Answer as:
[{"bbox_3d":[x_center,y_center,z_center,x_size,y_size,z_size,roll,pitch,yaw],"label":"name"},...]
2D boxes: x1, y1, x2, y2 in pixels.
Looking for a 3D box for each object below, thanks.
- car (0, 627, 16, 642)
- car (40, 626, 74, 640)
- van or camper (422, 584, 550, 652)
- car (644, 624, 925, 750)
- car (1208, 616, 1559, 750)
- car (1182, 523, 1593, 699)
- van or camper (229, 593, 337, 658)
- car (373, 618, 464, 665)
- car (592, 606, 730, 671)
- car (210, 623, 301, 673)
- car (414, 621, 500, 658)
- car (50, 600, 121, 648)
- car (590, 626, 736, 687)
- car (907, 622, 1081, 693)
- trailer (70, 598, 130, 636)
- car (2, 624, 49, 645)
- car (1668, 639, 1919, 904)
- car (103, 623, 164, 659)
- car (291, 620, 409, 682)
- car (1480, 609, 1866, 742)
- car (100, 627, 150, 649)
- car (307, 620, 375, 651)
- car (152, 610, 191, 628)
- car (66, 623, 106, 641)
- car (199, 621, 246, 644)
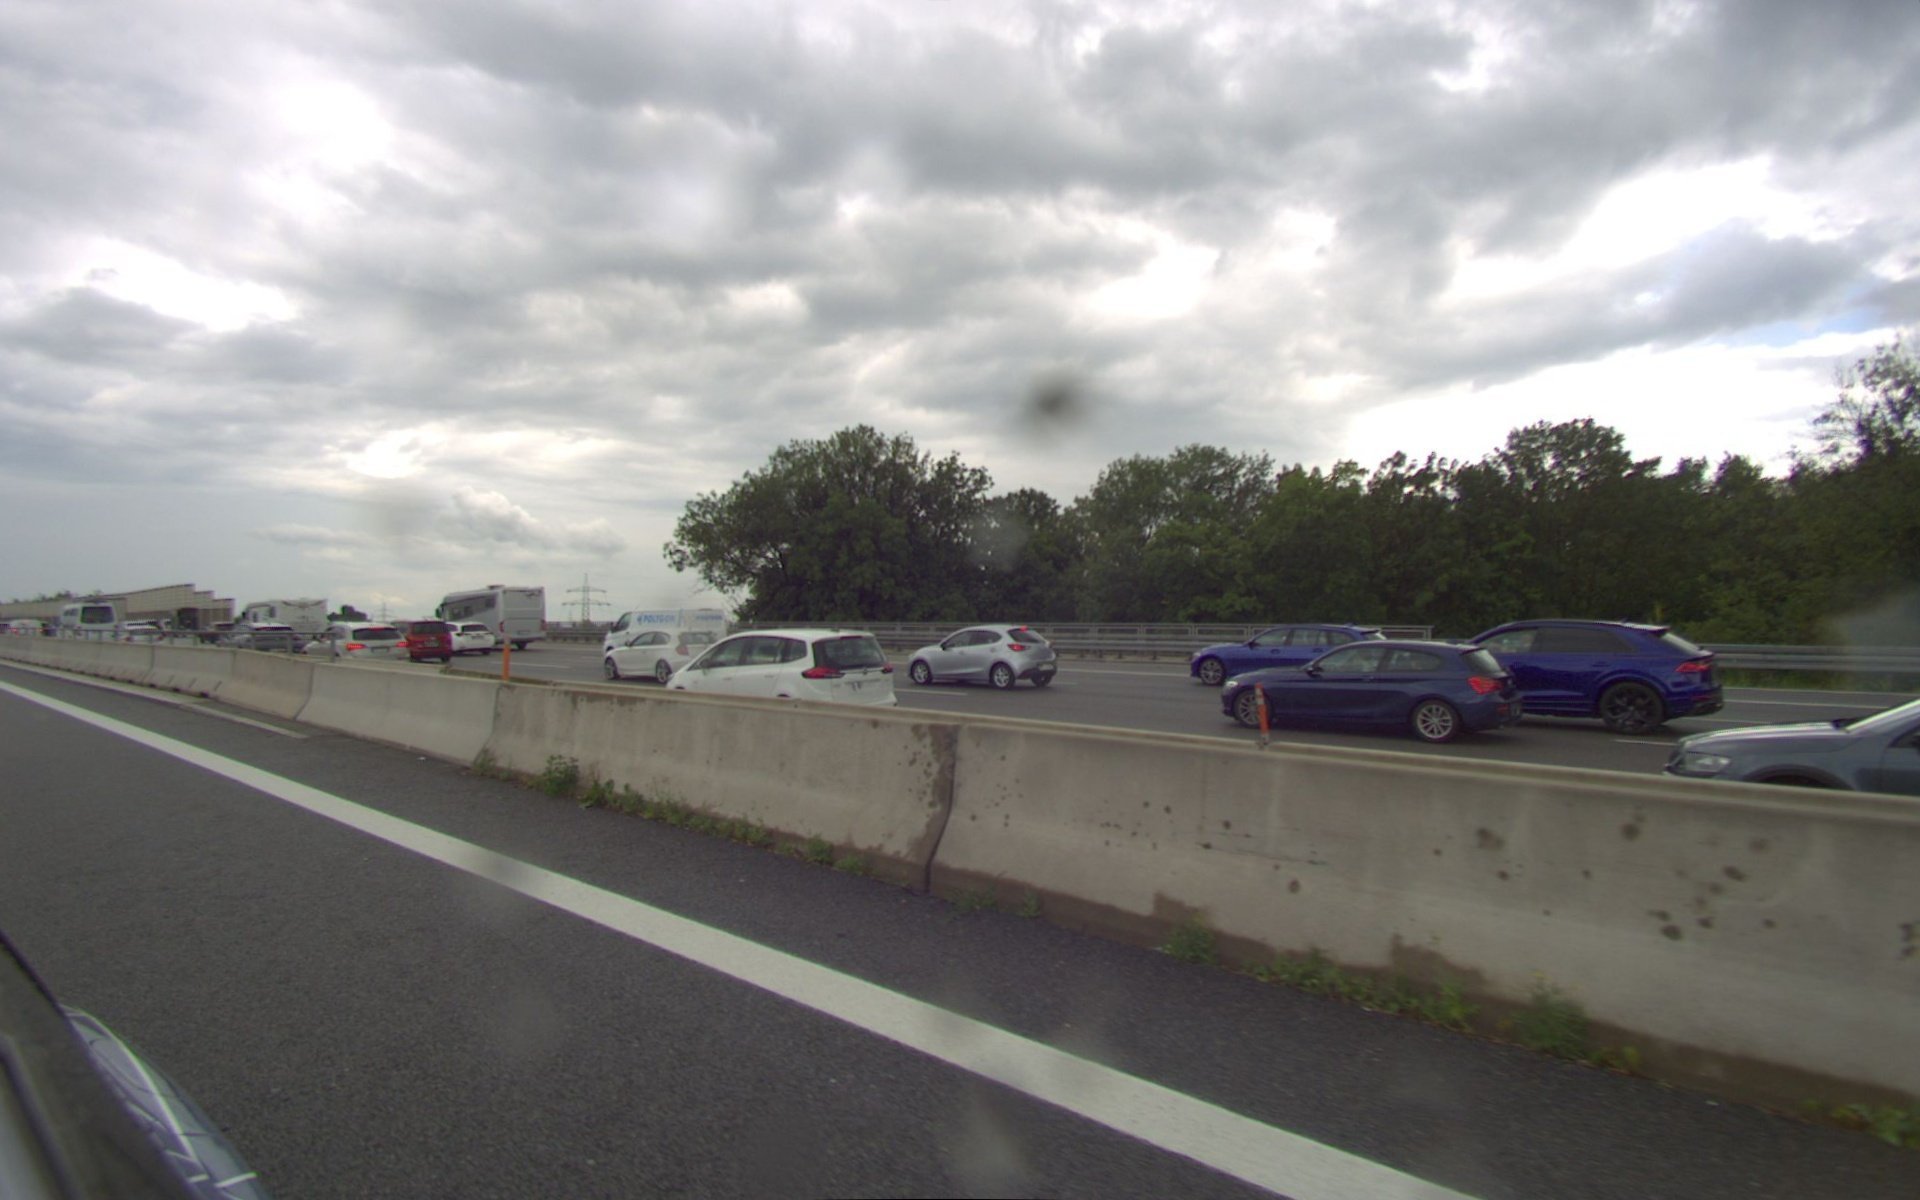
[{"bbox_3d":[-108.272,3.889,114.133,5.466,1.546,2.039,-1,-1,41],"label":"car"},{"bbox_3d":[-98.627,3.596,110.508,5.466,1.546,2.039,-1,-1,41],"label":"car"},{"bbox_3d":[-23.930,0.843,50.810,8.473,3.146,2.598,-1,0,41],"label":"van or camper"},{"bbox_3d":[-2.964,1.254,16.298,4.996,1.658,1.705,-1,0,42],"label":"car"},{"bbox_3d":[6.176,1.102,15.116,4.517,1.658,1.705,-1,0,42],"label":"car"},{"bbox_3d":[9.144,0.224,22.420,7.935,3.264,2.700,-1,0,41],"label":"car"},{"bbox_3d":[-33.752,1.217,50.318,7.355,2.973,2.598,-1,0,41],"label":"van or camper"},{"bbox_3d":[-20.929,1.544,39.047,4.518,1.658,1.704,-1,0,43],"label":"car"},{"bbox_3d":[-9.906,1.210,33.242,5.546,1.950,1.670,-1,0,42],"label":"car"},{"bbox_3d":[-26.247,1.727,37.657,5.061,1.658,1.704,-1,0,43],"label":"car"},{"bbox_3d":[-22.233,1.697,44.663,5.018,1.467,1.704,-1,0,43],"label":"car"},{"bbox_3d":[-55.524,1.557,64.169,9.159,2.770,2.207,-3,-2,42],"label":"car"},{"bbox_3d":[-8.137,1.472,27.485,4.518,1.426,1.704,-1,0,43],"label":"car"},{"bbox_3d":[0.758,1.313,24.272,3.956,1.489,1.706,-1,0,40],"label":"car"},{"bbox_3d":[-97.141,1.978,114.159,14.442,4.062,2.902,-2,-1,41],"label":"trailer"},{"bbox_3d":[-72.249,2.610,78.199,5.466,1.546,2.039,-1,-1,41],"label":"car"},{"bbox_3d":[7.770,1.162,6.612,4.991,1.658,1.705,-1,0,42],"label":"car"},{"bbox_3d":[-41.012,1.989,50.158,4.518,1.658,1.704,-1,0,43],"label":"car"},{"bbox_3d":[-18.503,1.477,30.594,5.061,1.658,1.704,-1,0,43],"label":"car"},{"bbox_3d":[10.470,0.992,15.100,4.518,1.658,1.704,-1,0,43],"label":"car"},{"bbox_3d":[-59.997,2.715,72.729,4.516,1.546,2.039,-1,-1,41],"label":"car"},{"bbox_3d":[-33.742,1.898,55.085,5.018,1.559,1.828,-1,0,43],"label":"car"},{"bbox_3d":[-72.886,1.777,93.524,4.516,1.658,2.039,-1,-1,41],"label":"car"},{"bbox_3d":[-83.535,3.017,96.694,6.116,1.658,2.039,-1,-1,41],"label":"car"},{"bbox_3d":[-50.385,2.207,69.092,4.518,1.475,1.704,-1,0,43],"label":"car"}]
